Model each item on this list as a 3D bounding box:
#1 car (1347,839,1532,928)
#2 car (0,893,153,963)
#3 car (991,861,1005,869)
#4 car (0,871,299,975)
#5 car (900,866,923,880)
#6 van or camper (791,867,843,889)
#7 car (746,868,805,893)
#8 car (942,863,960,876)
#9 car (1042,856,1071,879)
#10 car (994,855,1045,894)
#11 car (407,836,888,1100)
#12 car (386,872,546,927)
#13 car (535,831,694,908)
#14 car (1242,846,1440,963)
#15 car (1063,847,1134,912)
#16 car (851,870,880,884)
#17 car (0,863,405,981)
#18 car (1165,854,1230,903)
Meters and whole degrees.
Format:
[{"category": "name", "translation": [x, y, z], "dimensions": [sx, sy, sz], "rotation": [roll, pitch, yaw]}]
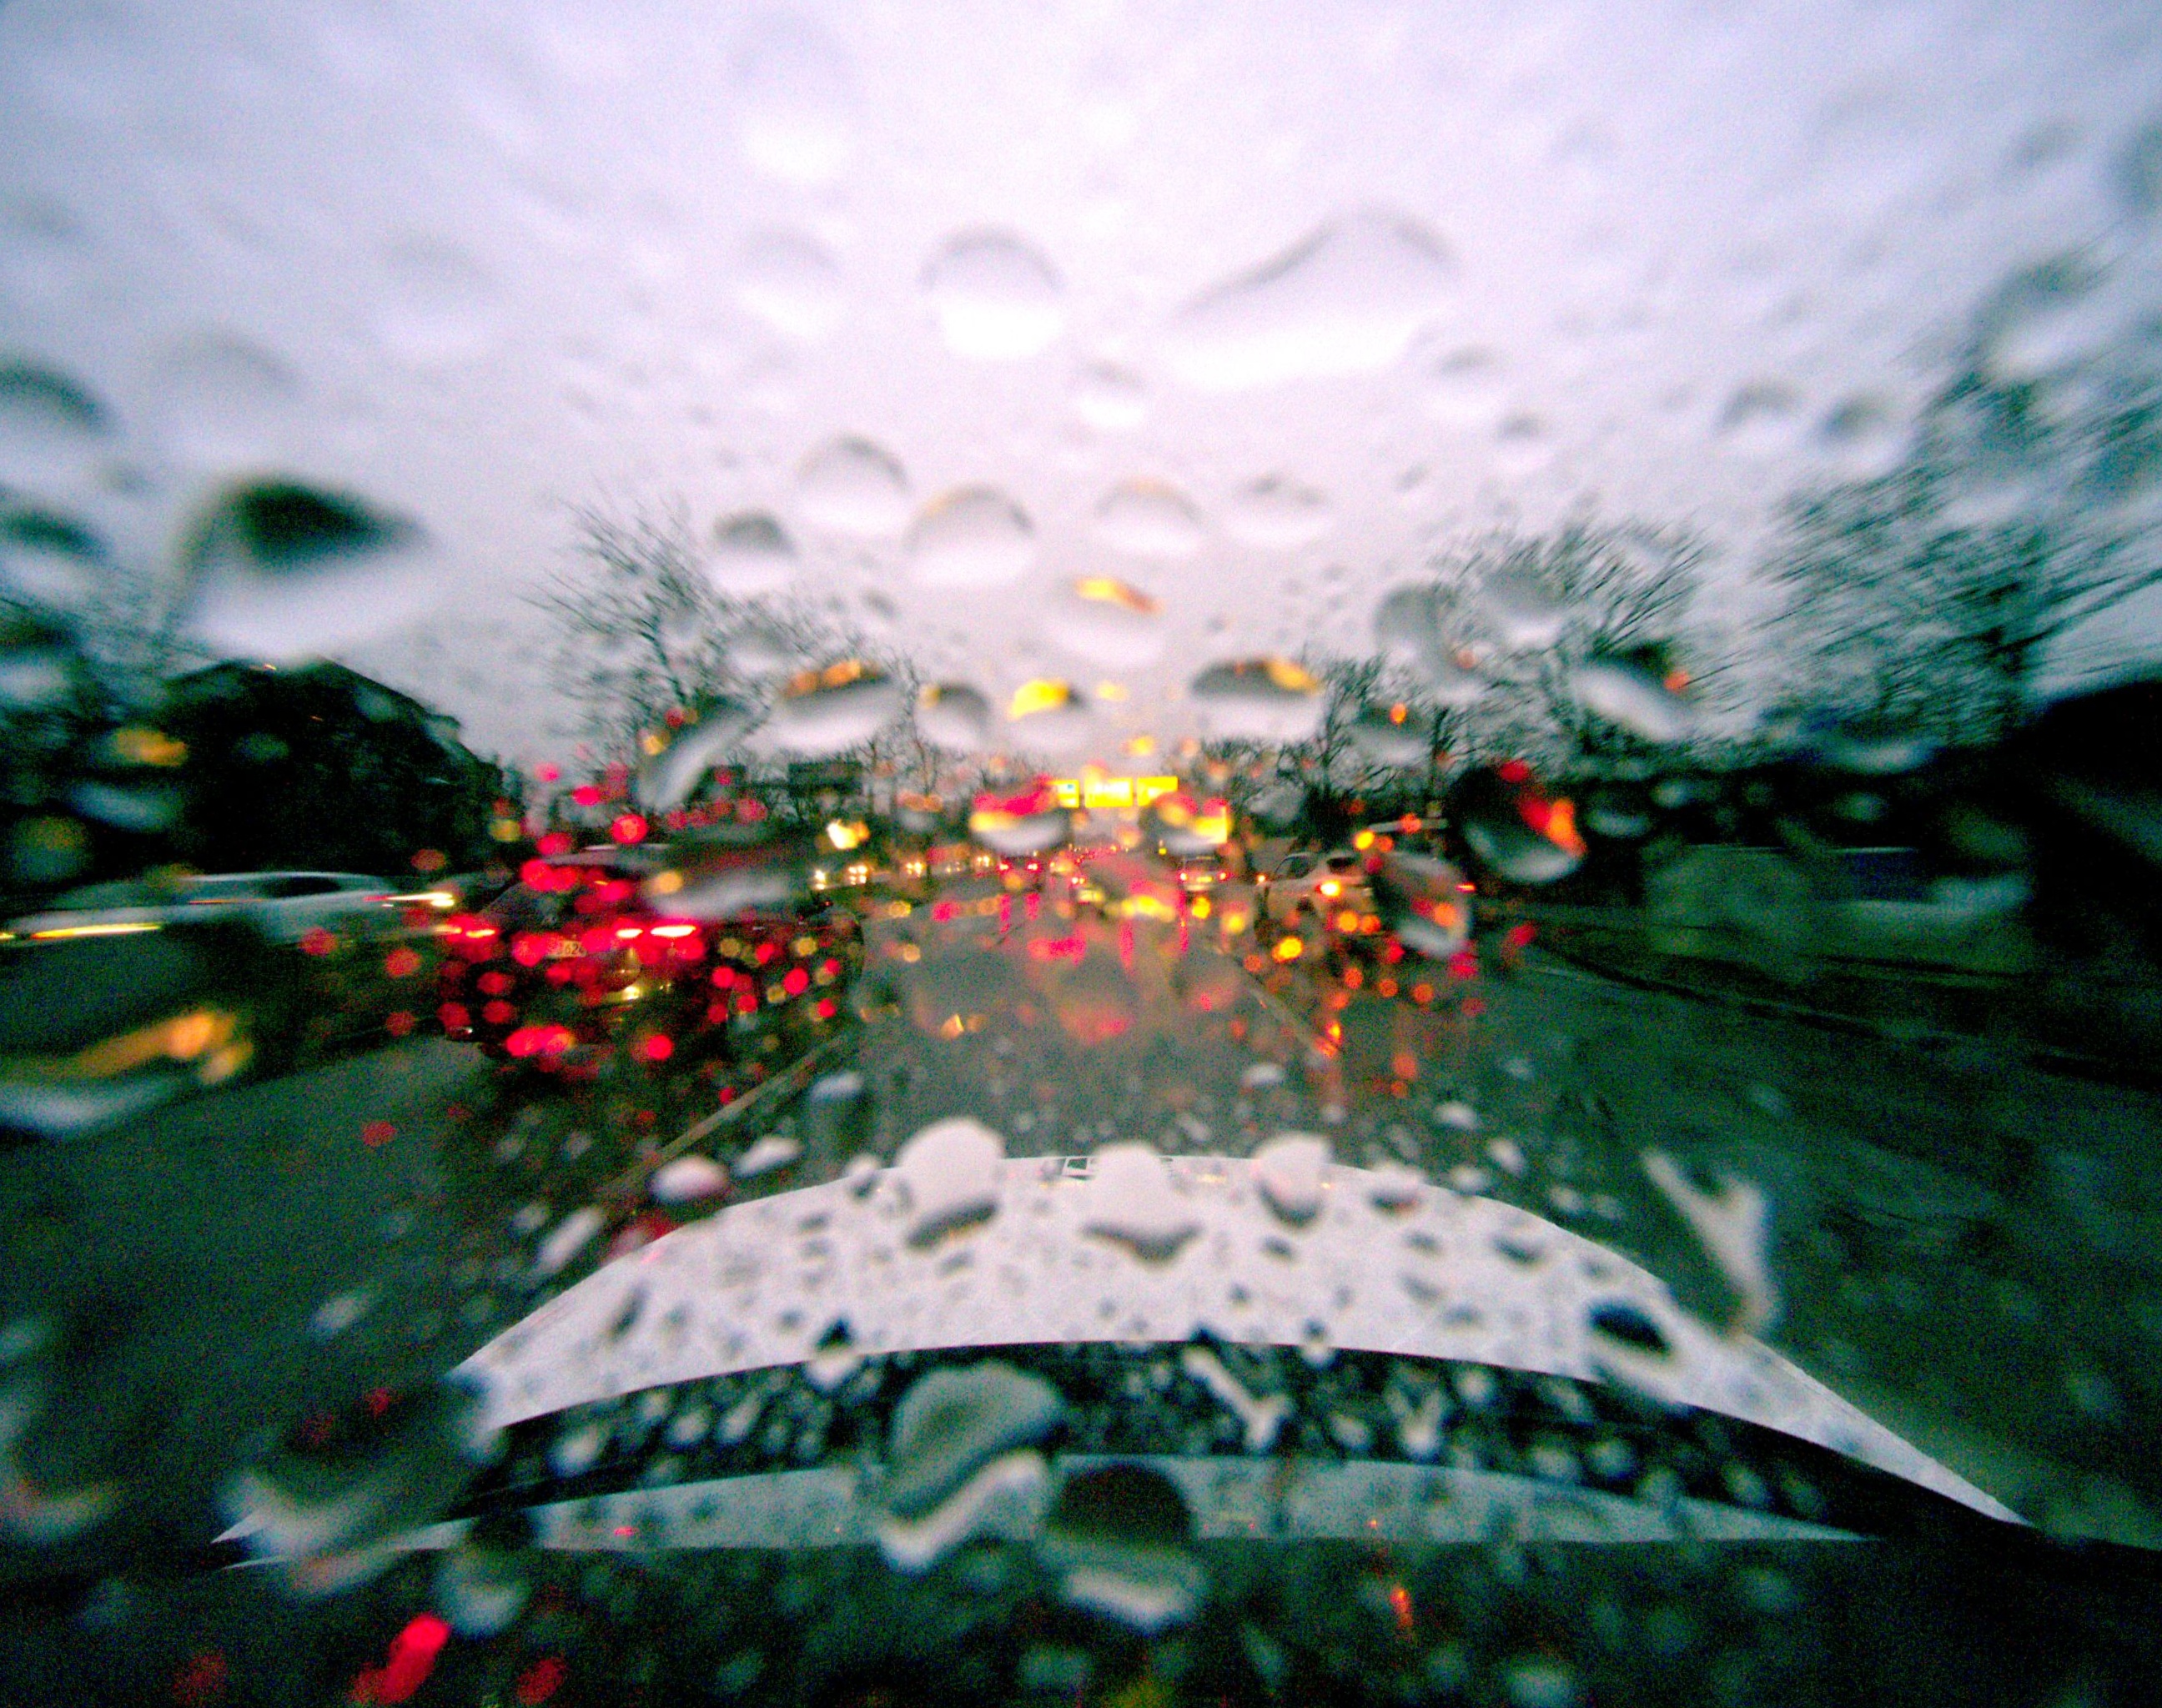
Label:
[{"category": "car", "translation": [7.644, 0.591, 17.962], "dimensions": [1.961, 1.619, 4.545], "rotation": [-3, 0, -1]}, {"category": "car", "translation": [-24.376, 1.700, 18.570], "dimensions": [1.749, 1.398, 4.001], "rotation": [-2, 0, 1]}, {"category": "car", "translation": [-14.082, 1.815, 138.128], "dimensions": [1.745, 1.308, 4.318], "rotation": [-1, 0, 2]}, {"category": "car", "translation": [-17.665, 1.191, 15.390], "dimensions": [1.763, 1.586, 4.034], "rotation": [-2, 0, 1]}, {"category": "car", "translation": [-24.155, 2.680, 116.215], "dimensions": [1.985, 1.851, 4.430], "rotation": [-1, 0, 3]}, {"category": "van or camper", "translation": [-18.983, 1.679, 58.862], "dimensions": [1.897, 1.446, 5.161], "rotation": [-1, -1, 2]}, {"category": "car", "translation": [-19.358, 1.644, 51.756], "dimensions": [1.897, 1.446, 4.444], "rotation": [-1, -1, 2]}, {"category": "car", "translation": [-17.495, 2.034, 109.483], "dimensions": [1.779, 1.627, 3.575], "rotation": [-1, 0, 1]}, {"category": "car", "translation": [-1.832, 1.031, 62.207], "dimensions": [1.815, 1.648, 4.003], "rotation": [-2, -1, 3]}, {"category": "car", "translation": [-2.778, 0.901, 37.578], "dimensions": [1.815, 1.648, 4.003], "rotation": [-2, -1, 3]}, {"category": "car", "translation": [-3.328, 0.750, 7.469], "dimensions": [1.815, 1.648, 4.469], "rotation": [-2, -1, 3]}, {"category": "car", "translation": [-20.320, 1.453, 27.194], "dimensions": [1.762, 1.536, 4.450], "rotation": [-2, 0, 3]}, {"category": "car", "translation": [-19.863, 0.664, 35.283], "dimensions": [2.282, 3.005, 7.353], "rotation": [0, -1, 3]}, {"category": "car", "translation": [4.156, 0.734, 13.844], "dimensions": [1.810, 1.618, 4.407], "rotation": [-2, -1, -2]}, {"category": "car", "translation": [0.563, 0.670, 23.533], "dimensions": [1.815, 1.648, 4.469], "rotation": [-2, 0, 3]}, {"category": "car", "translation": [-24.072, 2.571, 91.082], "dimensions": [1.985, 1.477, 4.076], "rotation": [-1, 0, 3]}, {"category": "car", "translation": [-14.411, 0.979, 13.778], "dimensions": [1.763, 1.536, 4.842], "rotation": [-2, 0, 1]}, {"category": "car", "translation": [4.133, 0.856, 29.533], "dimensions": [1.925, 1.648, 4.469], "rotation": [0, -1, 3]}]
